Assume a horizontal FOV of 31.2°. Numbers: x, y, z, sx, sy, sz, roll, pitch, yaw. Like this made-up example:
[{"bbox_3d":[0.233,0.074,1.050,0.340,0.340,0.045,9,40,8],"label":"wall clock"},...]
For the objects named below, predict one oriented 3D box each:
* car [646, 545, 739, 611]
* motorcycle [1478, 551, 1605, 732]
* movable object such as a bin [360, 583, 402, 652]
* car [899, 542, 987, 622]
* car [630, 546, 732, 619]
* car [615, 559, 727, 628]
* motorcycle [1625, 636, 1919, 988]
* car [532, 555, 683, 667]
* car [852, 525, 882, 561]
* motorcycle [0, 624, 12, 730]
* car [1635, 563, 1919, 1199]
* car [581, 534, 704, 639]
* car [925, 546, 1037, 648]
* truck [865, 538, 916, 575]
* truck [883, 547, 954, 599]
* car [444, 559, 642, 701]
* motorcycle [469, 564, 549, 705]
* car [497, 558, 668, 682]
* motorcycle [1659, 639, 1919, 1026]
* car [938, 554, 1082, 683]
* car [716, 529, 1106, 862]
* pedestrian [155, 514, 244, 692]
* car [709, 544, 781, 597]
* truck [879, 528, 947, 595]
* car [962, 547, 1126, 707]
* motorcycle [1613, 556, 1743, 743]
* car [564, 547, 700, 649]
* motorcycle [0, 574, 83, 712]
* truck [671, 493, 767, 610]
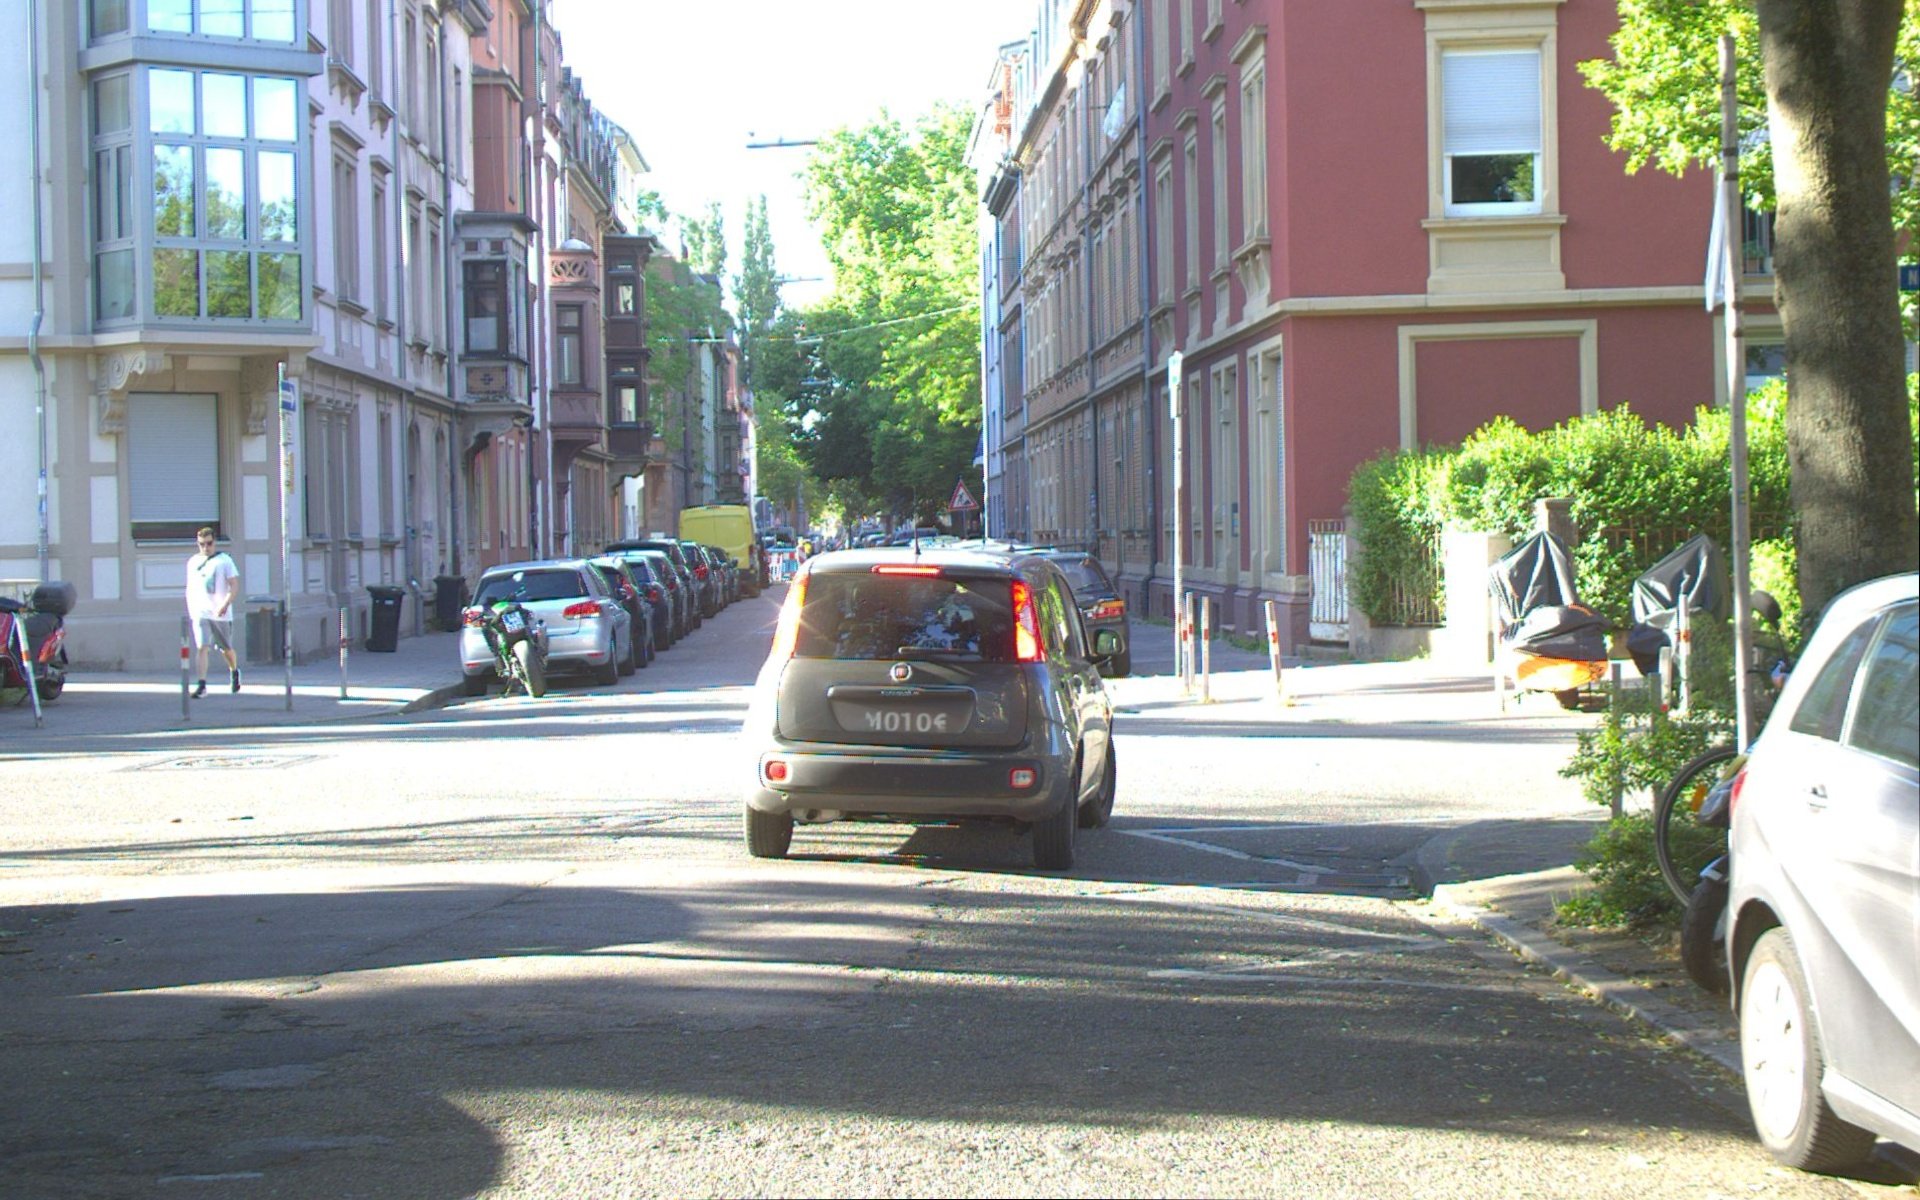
[{"bbox_3d":[-6.654,-0.571,85.843,1.961,1.474,3.925,-4,1,-1],"label":"car"},{"bbox_3d":[5.020,0.334,29.598,1.020,1.399,2.191,-1,3,10],"label":"motorcycle"},{"bbox_3d":[-8.114,0.245,48.175,0.511,0.949,0.501,-1,1,-4],"label":"movable object such as a bin"},{"bbox_3d":[-0.348,-0.379,67.181,1.663,1.500,3.757,0,1,-1],"label":"car"},{"bbox_3d":[-6.370,-0.424,78.839,1.961,1.474,3.925,-4,1,-1],"label":"car"},{"bbox_3d":[-5.944,-0.159,71.195,1.961,1.220,3.925,-4,1,-1],"label":"car"},{"bbox_3d":[3.442,0.779,12.784,1.851,1.262,0.504,-2,1,13],"label":"motorcycle"},{"bbox_3d":[-5.250,0.138,51.656,1.825,1.462,3.925,-4,1,-1],"label":"car"},{"bbox_3d":[-4.337,-2.676,160.574,1.367,1.612,3.414,-1,1,-1],"label":"car"},{"bbox_3d":[-9.516,0.721,31.441,0.689,0.982,1.820,3,2,19],"label":"motorcycle"},{"bbox_3d":[2.952,0.696,7.450,1.788,1.545,4.410,-1,1,-4],"label":"car"},{"bbox_3d":[-5.684,-0.272,61.905,1.775,1.693,3.925,-4,1,-1],"label":"car"},{"bbox_3d":[0.292,-0.071,53.517,1.663,1.500,3.757,0,1,-1],"label":"car"},{"bbox_3d":[-2.866,-1.799,140.938,1.993,1.451,4.001,-1,1,-2],"label":"truck"},{"bbox_3d":[-1.258,-0.800,101.396,1.993,1.451,4.001,-1,1,-2],"label":"truck"},{"bbox_3d":[-4.835,0.312,40.359,1.797,1.427,3.925,-4,1,-1],"label":"car"},{"bbox_3d":[-4.870,0.349,37.060,0.696,1.455,1.751,-2,1,-11],"label":"motorcycle"},{"bbox_3d":[-4.939,0.230,45.445,1.777,1.408,3.925,-4,1,-1],"label":"car"},{"bbox_3d":[3.272,0.781,11.969,1.502,1.262,0.619,-2,1,-2],"label":"motorcycle"},{"bbox_3d":[0.579,0.195,42.520,1.663,1.500,3.757,0,1,-1],"label":"car"},{"bbox_3d":[-0.163,0.409,17.623,1.633,1.545,3.264,0,1,6],"label":"car"},{"bbox_3d":[-7.922,0.024,35.826,0.723,1.833,0.626,0,1,10],"label":"pedestrian"},{"bbox_3d":[-6.754,-0.936,108.212,1.961,1.474,3.925,-4,1,-1],"label":"car"},{"bbox_3d":[-1.478,-1.216,106.768,1.993,1.985,4.001,-1,1,-2],"label":"truck"},{"bbox_3d":[0.886,0.256,38.032,1.663,1.663,3.757,0,1,-1],"label":"car"},{"bbox_3d":[6.026,0.385,28.972,0.826,1.399,2.556,-1,3,6],"label":"motorcycle"},{"bbox_3d":[-5.375,-0.056,56.756,1.828,1.474,3.925,-4,1,-1],"label":"car"},{"bbox_3d":[-9.233,0.409,33.797,0.518,1.289,1.611,1,1,12],"label":"motorcycle"},{"bbox_3d":[-6.481,-1.329,92.939,2.070,2.916,5.068,-5,1,-1],"label":"truck"}]
